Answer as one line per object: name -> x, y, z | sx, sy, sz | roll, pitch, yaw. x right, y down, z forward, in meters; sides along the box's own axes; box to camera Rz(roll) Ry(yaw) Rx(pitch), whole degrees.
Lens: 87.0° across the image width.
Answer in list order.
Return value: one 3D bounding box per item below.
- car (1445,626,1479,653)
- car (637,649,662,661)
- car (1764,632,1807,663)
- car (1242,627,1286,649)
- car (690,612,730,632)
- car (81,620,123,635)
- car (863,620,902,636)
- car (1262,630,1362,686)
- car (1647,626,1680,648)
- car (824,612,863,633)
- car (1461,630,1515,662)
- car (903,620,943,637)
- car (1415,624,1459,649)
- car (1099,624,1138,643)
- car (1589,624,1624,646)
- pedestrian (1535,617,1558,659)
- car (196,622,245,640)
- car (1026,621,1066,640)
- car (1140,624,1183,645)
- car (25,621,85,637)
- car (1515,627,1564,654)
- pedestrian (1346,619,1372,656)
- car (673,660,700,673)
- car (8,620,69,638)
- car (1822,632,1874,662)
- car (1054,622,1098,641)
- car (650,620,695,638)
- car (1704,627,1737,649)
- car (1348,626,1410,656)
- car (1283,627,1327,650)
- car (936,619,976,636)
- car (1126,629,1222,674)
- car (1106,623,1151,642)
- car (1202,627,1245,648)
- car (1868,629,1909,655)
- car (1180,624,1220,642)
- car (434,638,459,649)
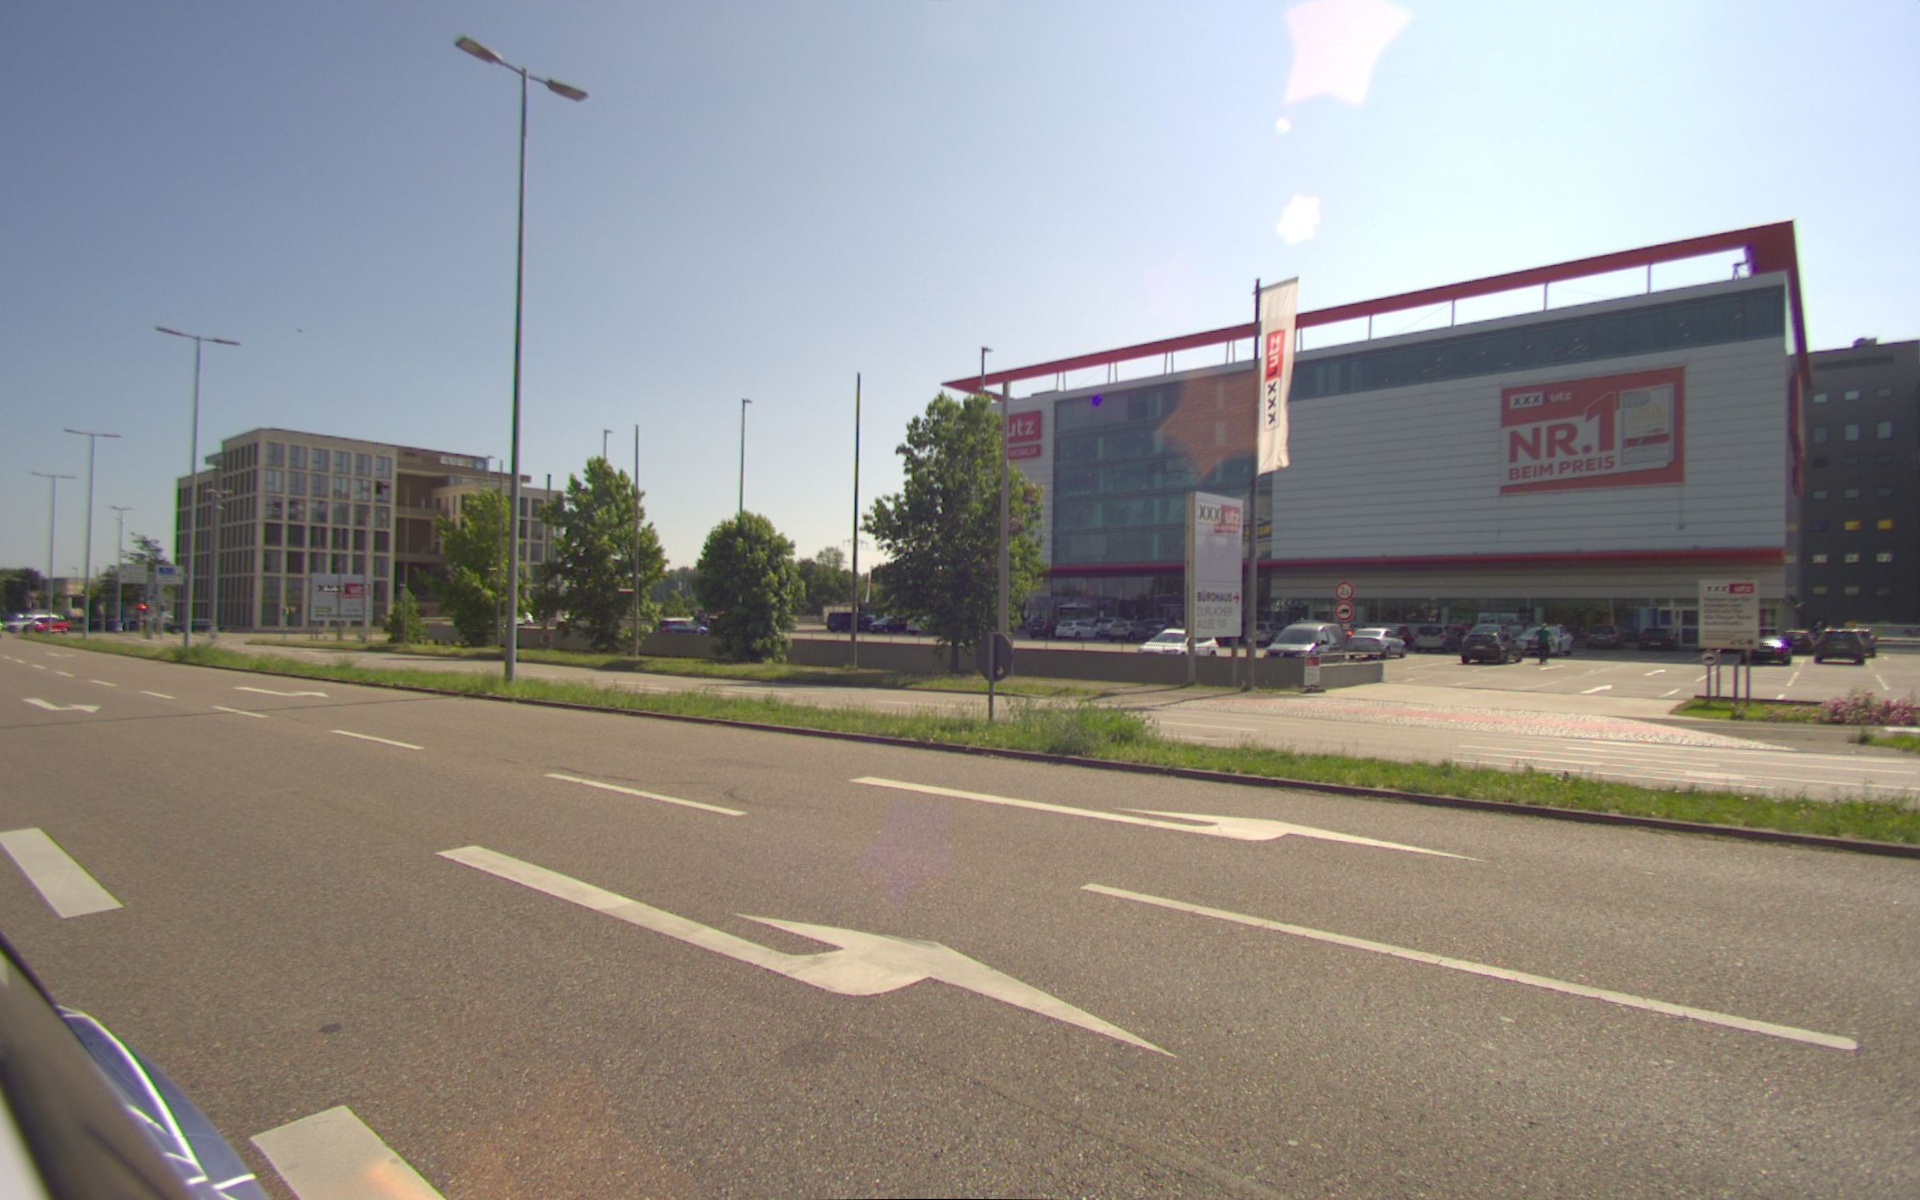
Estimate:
car -> 30.160, 2.357, 60.746 | 1.297, 1.570, 3.207 | -1, -2, 36
car -> -27.276, 4.787, 88.825 | 0.909, 0.983, 1.918 | 0, -1, 38
car -> 37.956, 2.166, 46.521 | 1.515, 1.340, 3.056 | 0, -1, 40
car -> 19.086, 2.363, 63.478 | 1.515, 1.340, 3.056 | 0, -1, 40
car -> -20.869, 1.848, 84.621 | 1.773, 1.568, 2.738 | -2, -3, 40
car -> -118.316, 3.751, 139.611 | 3.931, 2.029, 2.006 | 2, -2, -28
car -> -6.549, 2.387, 85.634 | 1.515, 1.340, 3.056 | 0, -1, 40
car -> 12.598, 2.010, 36.056 | 1.944, 1.856, 4.367 | 0, -2, 40
car -> 43.134, 2.268, 62.030 | 1.365, 1.276, 3.056 | 0, -2, 40
car -> -10.293, 2.007, 89.307 | 1.691, 1.771, 3.056 | 0, -1, 40
car -> 23.573, 2.014, 45.162 | 1.515, 1.340, 3.056 | 0, -1, 40
car -> -2.978, 2.315, 82.550 | 1.515, 1.340, 3.181 | 0, -1, 40
car -> 26.778, 2.013, 56.806 | 1.515, 1.340, 3.056 | 0, -1, 40
car -> 12.024, 2.543, 76.748 | 1.515, 1.340, 3.056 | 0, -1, 40
car -> 41.176, 2.203, 64.433 | 1.515, 1.340, 3.056 | 0, -1, 40
pedestrian -> 26.484, 1.739, 45.697 | 0.751, 1.872, 0.844 | -2, -3, 41
car -> -83.822, 3.524, 114.756 | 1.834, 1.903, 4.185 | 0, -1, 42
car -> 6.400, 2.240, 75.394 | 1.515, 1.340, 3.056 | 0, -1, 40
car -> 13.542, 2.293, 67.986 | 1.515, 1.340, 3.056 | 0, -1, 40
car -> -86.954, 2.792, 97.255 | 1.529, 1.539, 4.066 | -1, -2, 39
car -> 30.748, 2.144, 53.624 | 1.515, 1.340, 4.256 | 0, -1, 40
pedestrian -> 22.323, 2.106, 56.663 | 0.849, 2.029, 1.024 | 2, -3, -34
car -> -22.763, 5.511, 84.152 | 1.069, 0.983, 1.919 | 0, -1, 37
car -> -91.067, 2.873, 100.015 | 1.902, 1.724, 4.176 | -1, -2, 39
car -> 42.190, 2.206, 48.133 | 1.778, 1.340, 3.056 | 0, -1, 40
car -> 8.406, 2.281, 73.210 | 1.703, 1.340, 3.056 | 0, -1, 40
car -> -17.719, 1.769, 62.343 | 1.070, 1.067, 2.488 | 0, -1, 38
car -> 45.001, 2.215, 59.862 | 1.440, 1.234, 3.056 | 0, -1, 40
car -> 20.277, 1.950, 48.862 | 1.515, 1.340, 4.443 | 0, -1, 40
car -> 20.945, 2.322, 61.457 | 1.515, 1.340, 3.056 | 0, -1, 40
car -> -0.318, 2.217, 81.588 | 1.515, 1.340, 3.181 | 0, -1, 40
car -> 8.382, 1.965, 39.335 | 1.869, 1.640, 4.369 | 0, -2, 39
car -> 11.673, 2.235, 69.954 | 1.479, 1.208, 3.463 | 0, -1, 40
car -> 16.906, 2.390, 64.804 | 1.515, 1.303, 3.056 | 0, -1, 40
car -> 51.247, 2.311, 55.897 | 1.515, 1.340, 3.056 | 0, -1, 40
car -> 17.010, 2.345, 71.648 | 1.605, 1.237, 3.056 | 0, -1, 40
car -> -49.802, 4.198, 98.210 | 0.889, 0.983, 1.918 | 0, -1, 38
